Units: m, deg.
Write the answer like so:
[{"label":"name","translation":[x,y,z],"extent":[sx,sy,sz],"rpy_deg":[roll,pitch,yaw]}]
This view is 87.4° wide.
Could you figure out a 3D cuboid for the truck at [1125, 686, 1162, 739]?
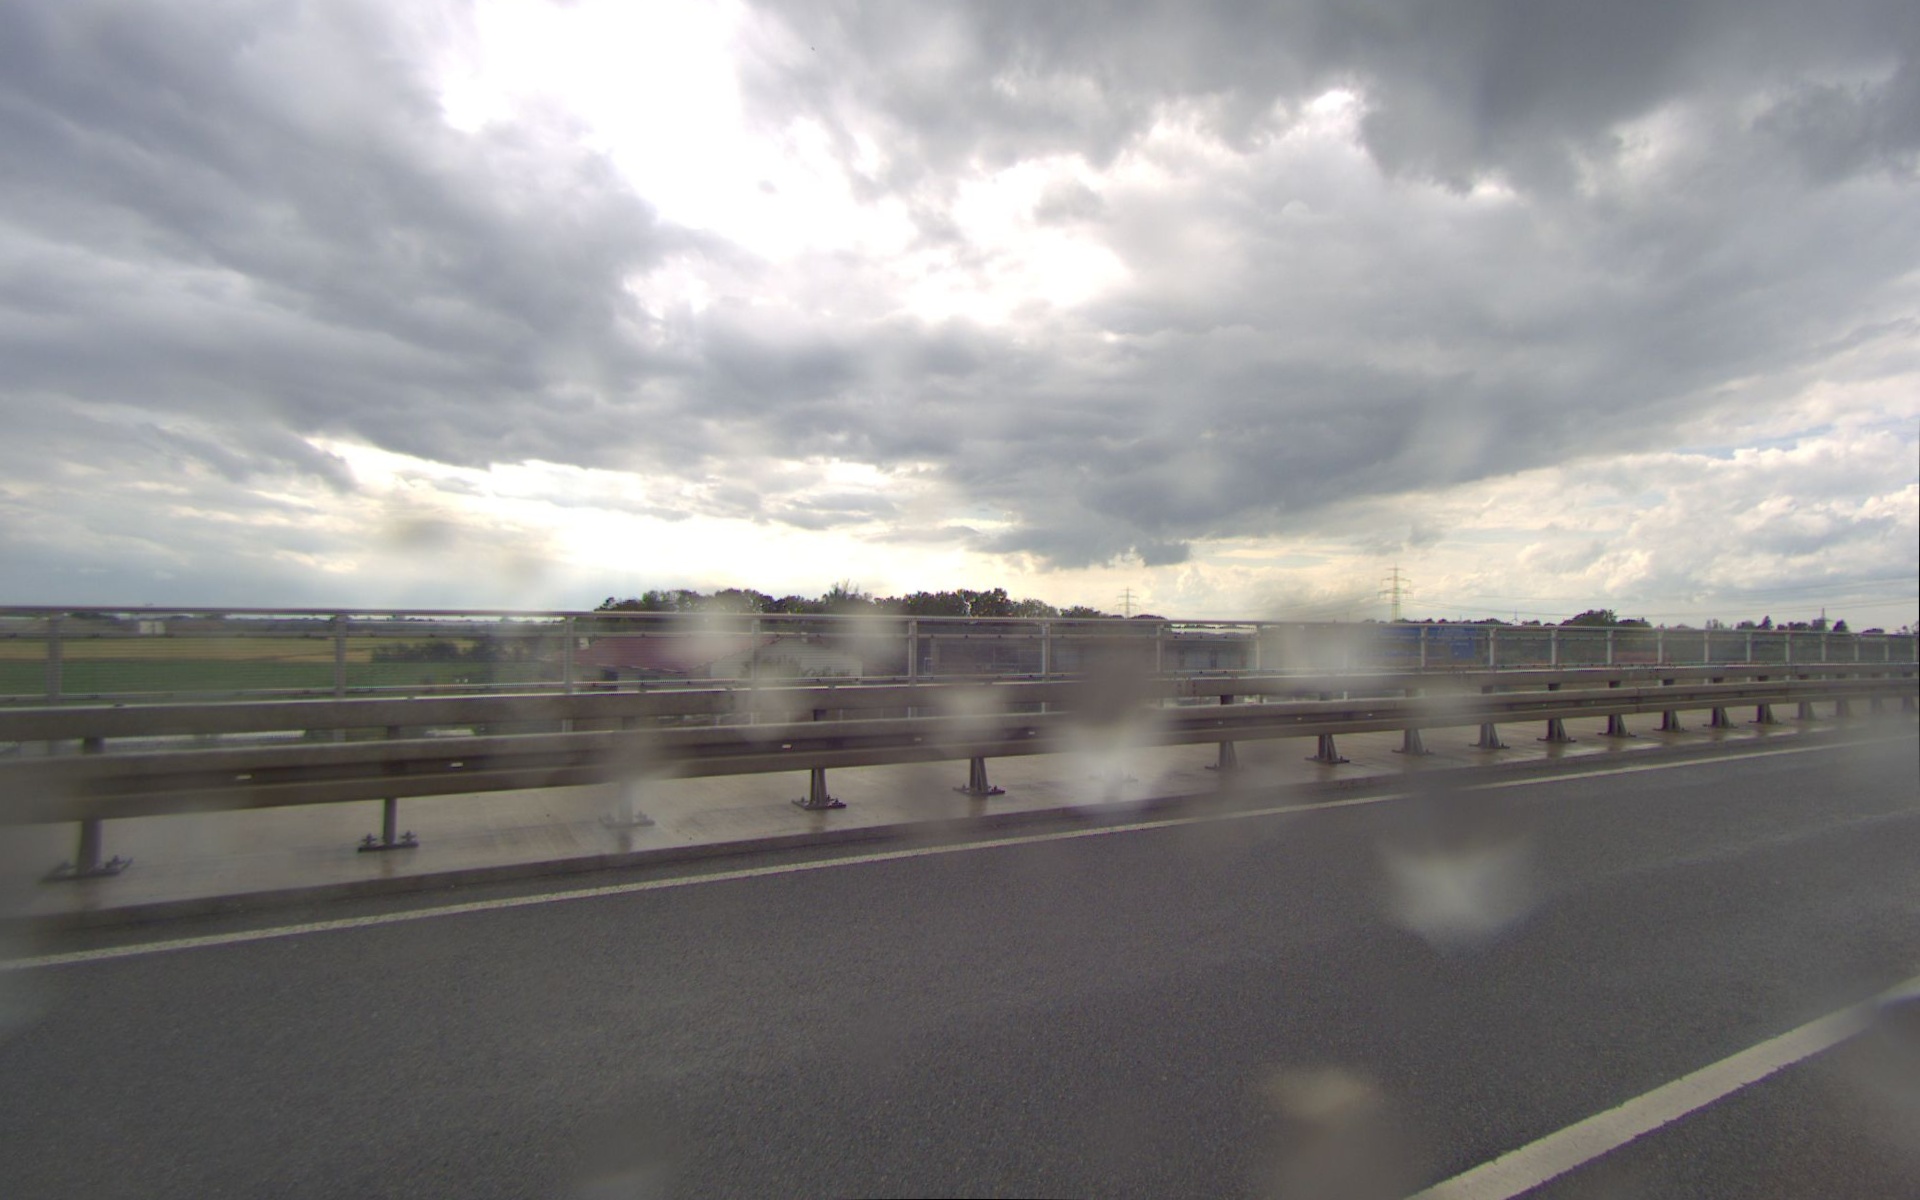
[{"label":"truck","translation":[18.408,11.081,100.418],"extent":[2.388,4.055,11.174],"rpy_deg":[2,0,16]}]

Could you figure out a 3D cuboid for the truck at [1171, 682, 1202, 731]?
[{"label":"truck","translation":[23.850,11.019,105.299],"extent":[2.388,4.055,11.174],"rpy_deg":[2,0,16]}]
